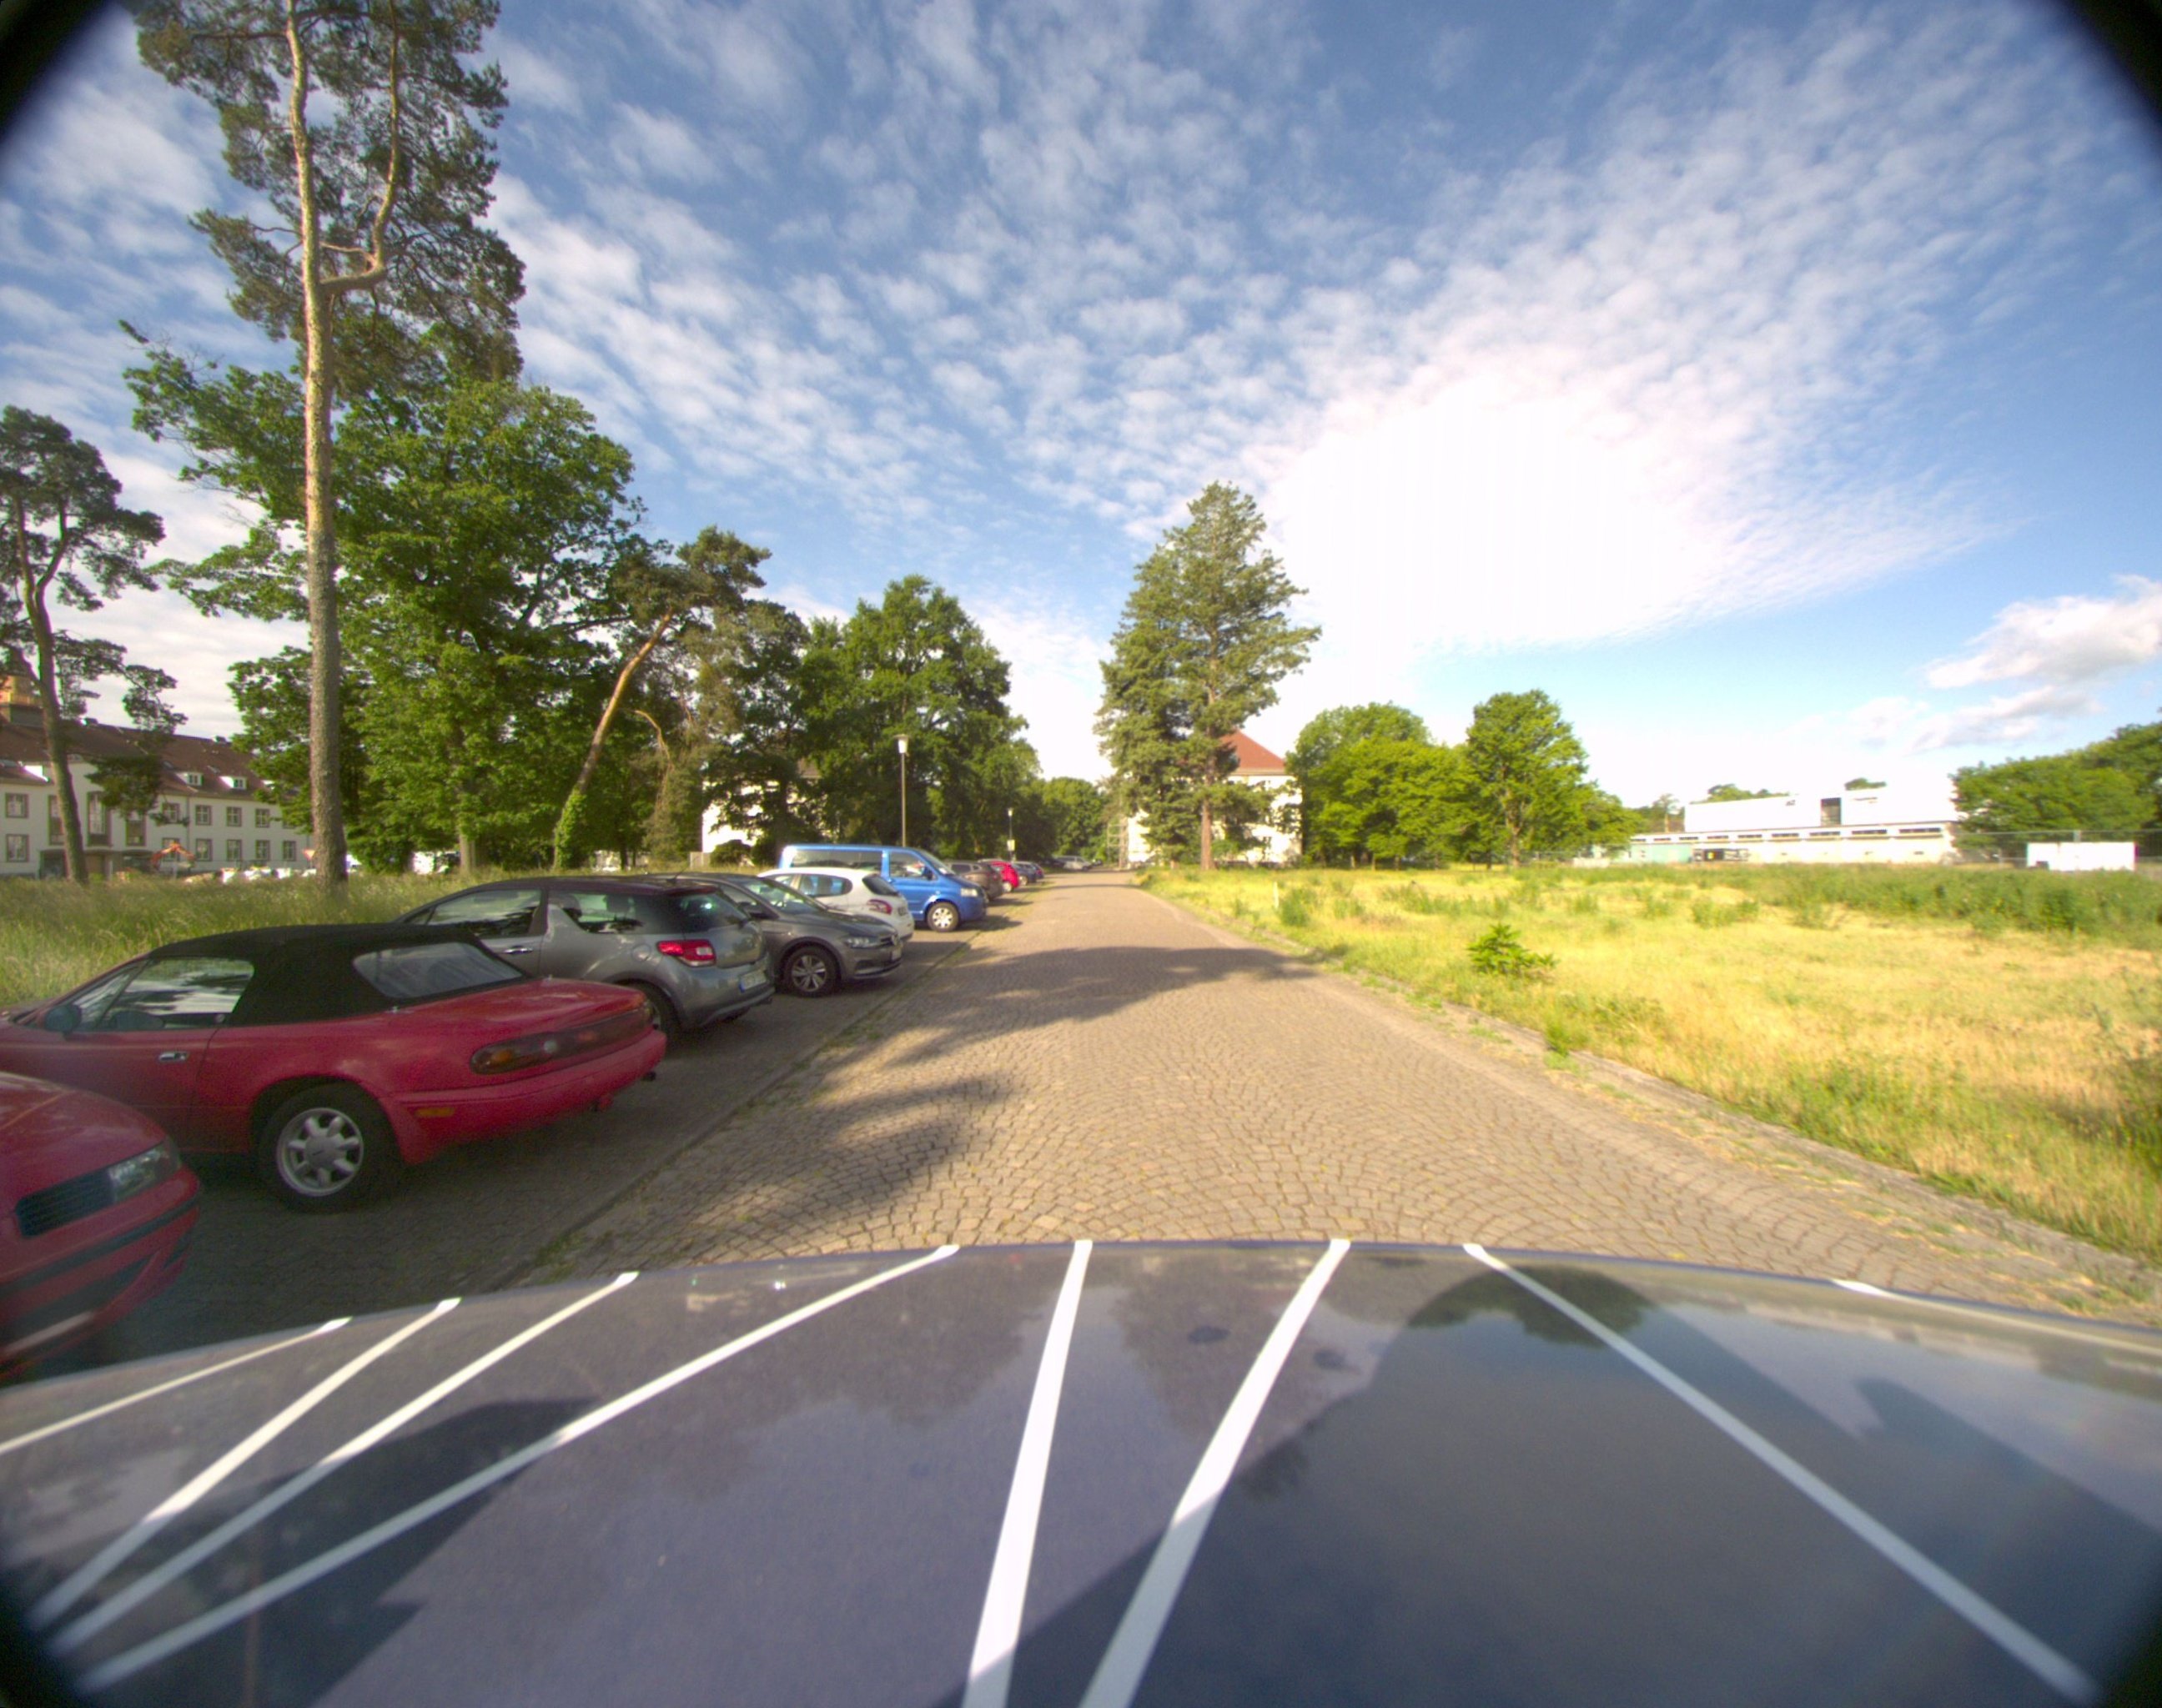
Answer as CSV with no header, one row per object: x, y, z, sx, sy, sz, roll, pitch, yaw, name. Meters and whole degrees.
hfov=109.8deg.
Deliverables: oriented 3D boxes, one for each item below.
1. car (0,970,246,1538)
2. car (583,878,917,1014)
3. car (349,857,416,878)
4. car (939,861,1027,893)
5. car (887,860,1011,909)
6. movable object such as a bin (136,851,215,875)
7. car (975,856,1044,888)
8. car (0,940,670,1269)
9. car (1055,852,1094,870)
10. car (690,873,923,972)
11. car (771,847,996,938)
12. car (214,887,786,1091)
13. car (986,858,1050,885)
-4.767,1.062,1.709,3.918,1.385,1.661,1,0,0,car
-4.096,1.074,9.614,3.620,1.482,1.509,0,0,10,car
-68.239,1.284,74.336,1.998,2.002,4.773,0,0,1,car
-4.759,1.092,37.154,3.996,1.509,1.757,0,0,3,car
-4.581,1.047,26.793,3.996,1.630,1.757,0,0,3,car
-90.347,0.896,75.913,1.999,2.309,4.985,0,0,-3,movable object such as a bin
-4.429,1.099,47.341,3.996,1.731,1.757,-3,1,3,car
-4.229,1.166,3.985,3.357,1.248,1.420,0,0,0,car
-0.801,0.933,100.780,5.068,2.251,2.000,0,0,0,car
-4.405,1.077,12.467,3.264,1.482,1.449,0,0,3,car
-4.499,0.856,17.855,4.726,2.002,2.000,0,0,2,car
-4.786,1.077,6.647,3.779,1.482,1.549,0,0,0,car
-4.286,1.203,52.131,3.996,1.605,1.757,-3,1,5,car
